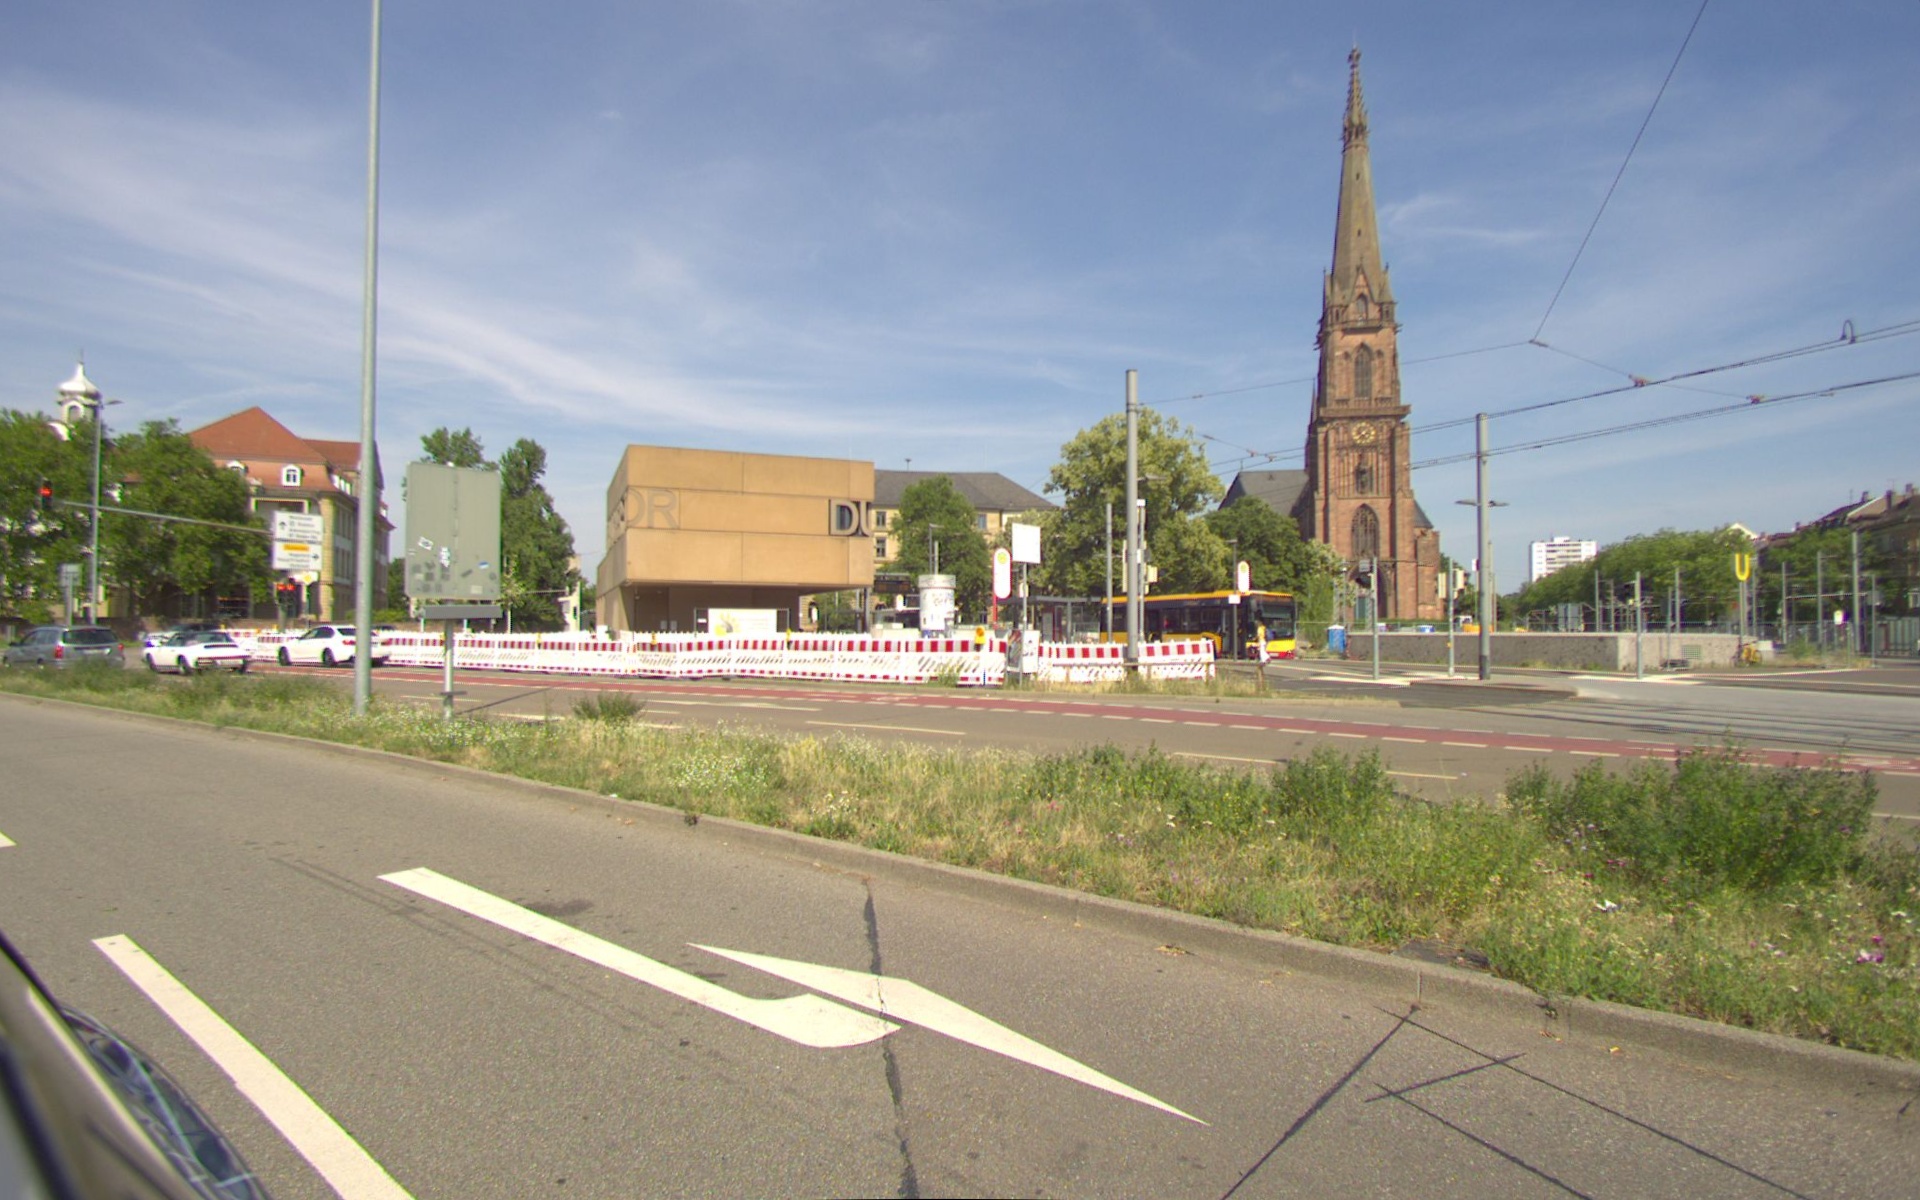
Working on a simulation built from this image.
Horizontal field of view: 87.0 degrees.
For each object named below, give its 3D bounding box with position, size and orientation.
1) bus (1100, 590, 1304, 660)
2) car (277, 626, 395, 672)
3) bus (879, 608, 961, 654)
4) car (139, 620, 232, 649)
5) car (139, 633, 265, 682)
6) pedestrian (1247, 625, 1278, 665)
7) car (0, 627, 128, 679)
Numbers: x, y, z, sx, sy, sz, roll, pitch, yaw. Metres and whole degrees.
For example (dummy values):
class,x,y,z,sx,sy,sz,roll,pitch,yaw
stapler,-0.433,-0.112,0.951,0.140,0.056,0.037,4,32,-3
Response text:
class,x,y,z,sx,sy,sz,roll,pitch,yaw
bus,10.490,1.008,45.988,2.711,2.703,11.828,-1,0,-22
car,-21.399,1.630,34.665,3.984,1.431,1.785,-1,0,30
bus,-3.346,2.432,79.574,2.710,3.348,11.827,1,-2,-22
car,-44.068,1.941,57.692,1.741,1.454,4.097,-1,0,12
car,-22.430,1.652,29.925,3.984,1.296,1.583,-1,0,30
pedestrian,10.705,1.583,35.833,0.911,1.377,0.532,-1,0,41
car,-24.699,1.414,27.800,3.984,1.296,1.583,-1,0,30
